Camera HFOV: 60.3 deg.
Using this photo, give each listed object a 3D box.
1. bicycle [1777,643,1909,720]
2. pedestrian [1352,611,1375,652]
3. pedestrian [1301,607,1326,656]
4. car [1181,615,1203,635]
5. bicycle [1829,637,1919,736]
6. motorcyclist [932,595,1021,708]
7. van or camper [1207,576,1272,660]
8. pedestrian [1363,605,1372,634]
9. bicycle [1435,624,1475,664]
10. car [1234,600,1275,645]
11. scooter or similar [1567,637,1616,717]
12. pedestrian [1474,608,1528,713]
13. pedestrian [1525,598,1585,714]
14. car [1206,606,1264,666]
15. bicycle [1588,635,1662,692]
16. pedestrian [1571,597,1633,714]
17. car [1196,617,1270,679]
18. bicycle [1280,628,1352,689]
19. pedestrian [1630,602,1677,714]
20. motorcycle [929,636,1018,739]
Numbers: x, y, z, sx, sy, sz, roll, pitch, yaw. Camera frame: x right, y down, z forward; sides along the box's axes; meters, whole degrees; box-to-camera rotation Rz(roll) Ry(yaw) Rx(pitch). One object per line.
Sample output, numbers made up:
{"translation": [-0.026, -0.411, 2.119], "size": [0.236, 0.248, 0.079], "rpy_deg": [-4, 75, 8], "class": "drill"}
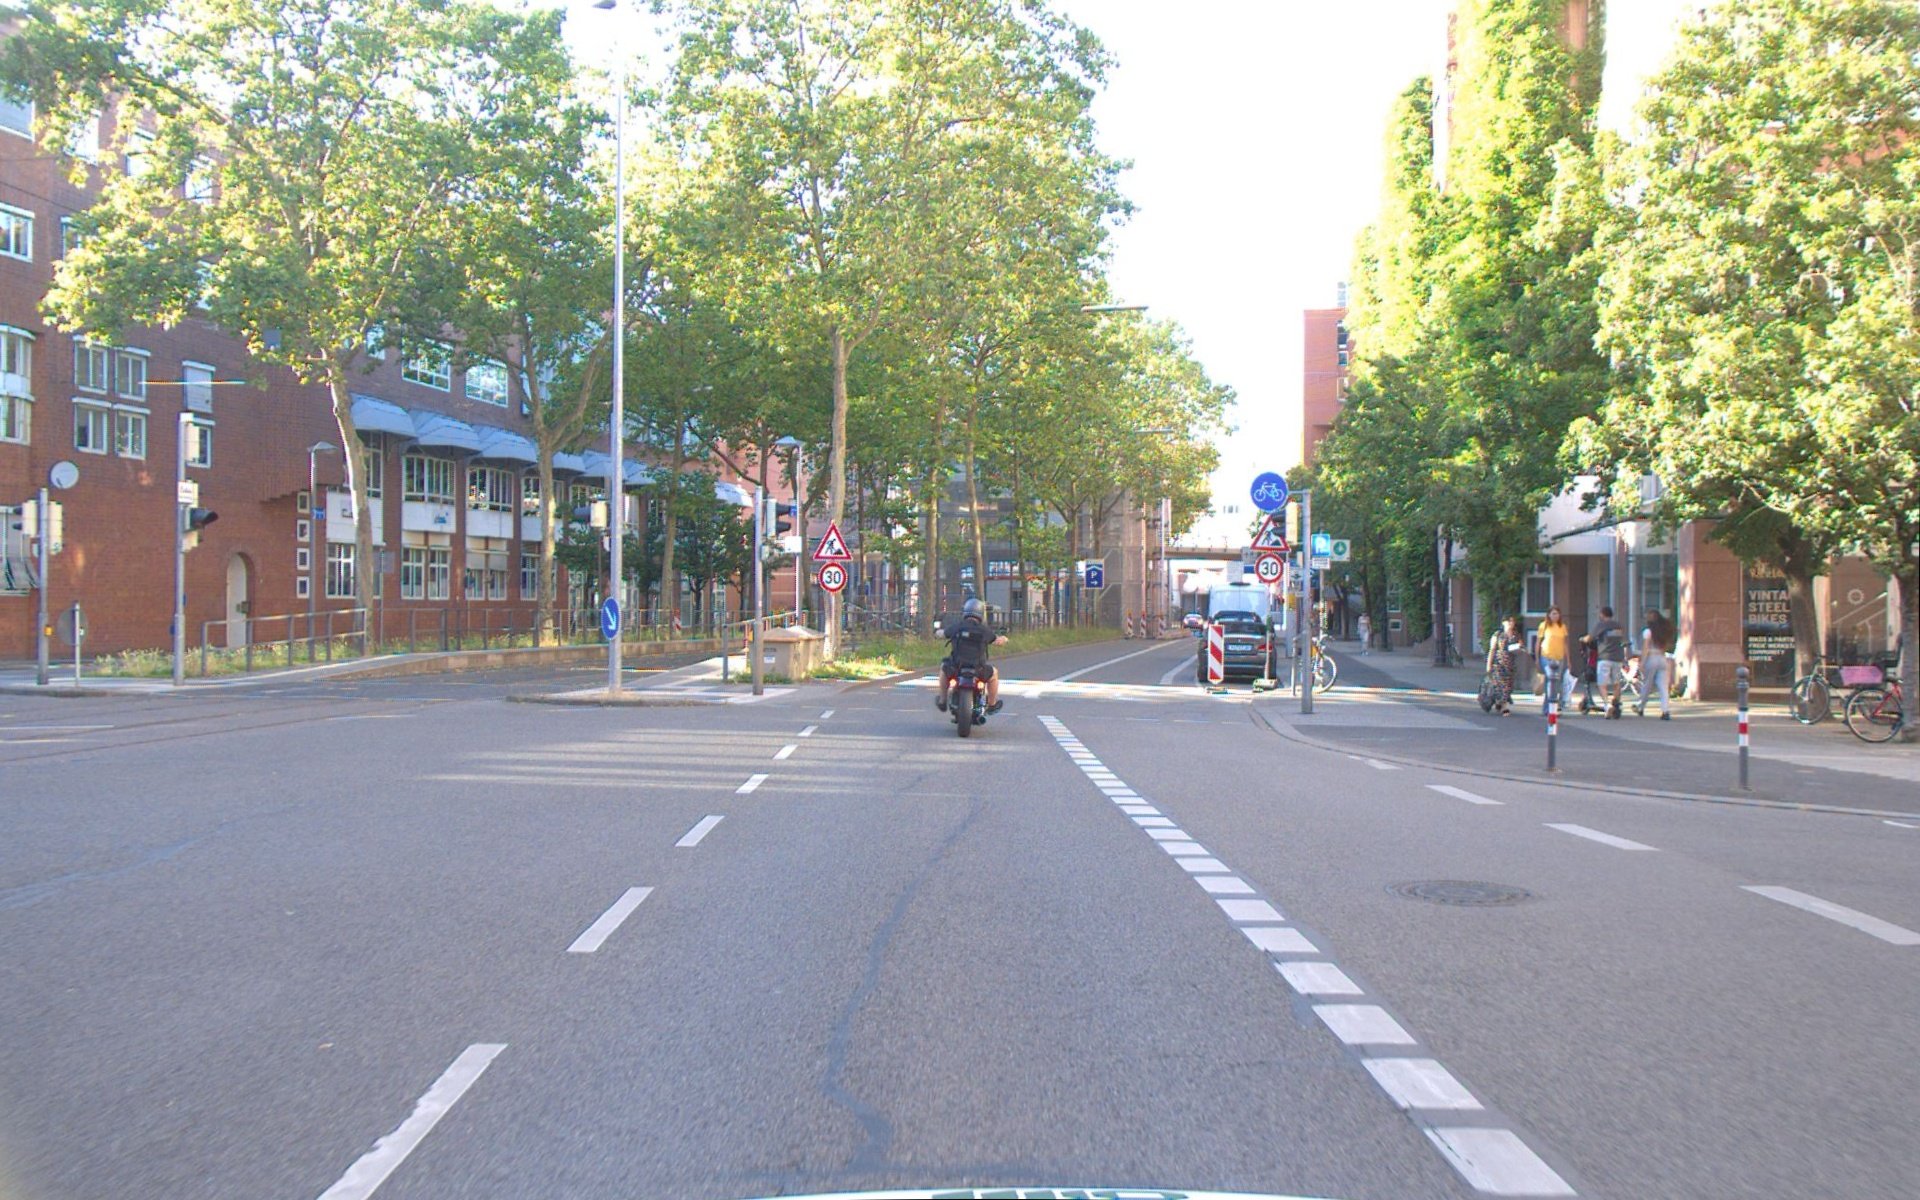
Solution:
{"translation": [13.088, 1.192, 24.564], "size": [1.712, 1.071, 0.738], "rpy_deg": [0, 0, 27], "class": "bicycle"}
{"translation": [14.627, 1.130, 59.968], "size": [0.749, 1.471, 0.781], "rpy_deg": [1, -1, 9], "class": "pedestrian"}
{"translation": [12.010, 1.065, 56.204], "size": [0.747, 1.673, 0.547], "rpy_deg": [0, -1, 2], "class": "pedestrian"}
{"translation": [21.026, 2.277, 149.872], "size": [1.812, 1.747, 4.003], "rpy_deg": [0, 0, 6], "class": "car"}
{"translation": [12.256, 1.118, 21.554], "size": [1.534, 1.248, 0.578], "rpy_deg": [0, 0, 5], "class": "bicycle"}
{"translation": [0.204, 0.602, 19.749], "size": [0.991, 1.285, 0.774], "rpy_deg": [2, 0, 1], "class": "motorcyclist"}
{"translation": [9.128, 0.573, 54.096], "size": [2.005, 2.585, 5.778], "rpy_deg": [0, 0, 9], "class": "van or camper"}
{"translation": [23.229, 1.127, 94.262], "size": [0.440, 1.655, 0.375], "rpy_deg": [0, -1, 4], "class": "pedestrian"}
{"translation": [13.642, 1.202, 45.599], "size": [0.604, 1.038, 1.914], "rpy_deg": [0, 0, 2], "class": "bicycle"}
{"translation": [13.850, 1.053, 78.003], "size": [1.796, 2.049, 4.391], "rpy_deg": [0, 0, 9], "class": "car"}
{"translation": [9.750, 1.173, 25.576], "size": [0.386, 1.178, 1.250], "rpy_deg": [0, 0, 5], "class": "scooter or similar"}
{"translation": [8.403, 0.922, 25.698], "size": [0.630, 1.606, 0.748], "rpy_deg": [0, 0, 3], "class": "pedestrian"}
{"translation": [9.181, 0.856, 25.548], "size": [0.685, 1.764, 0.768], "rpy_deg": [0, 0, 3], "class": "pedestrian"}
{"translation": [7.906, 0.995, 47.659], "size": [1.585, 1.648, 4.489], "rpy_deg": [0, 0, 9], "class": "car"}
{"translation": [11.968, 1.125, 29.809], "size": [0.721, 0.956, 1.753], "rpy_deg": [0, 0, 4], "class": "bicycle"}
{"translation": [10.009, 0.856, 25.787], "size": [0.769, 1.794, 0.610], "rpy_deg": [0, 0, 7], "class": "pedestrian"}
{"translation": [6.252, 1.065, 38.168], "size": [1.585, 1.325, 4.315], "rpy_deg": [0, 0, 8], "class": "car"}
{"translation": [6.559, 1.063, 30.525], "size": [0.723, 1.071, 1.748], "rpy_deg": [0, 0, -9], "class": "bicycle"}
{"translation": [10.748, 0.887, 25.628], "size": [0.449, 1.702, 0.680], "rpy_deg": [0, 0, 1], "class": "pedestrian"}
{"translation": [0.175, 1.010, 19.676], "size": [0.997, 1.116, 2.008], "rpy_deg": [0, 0, 1], "class": "motorcycle"}
